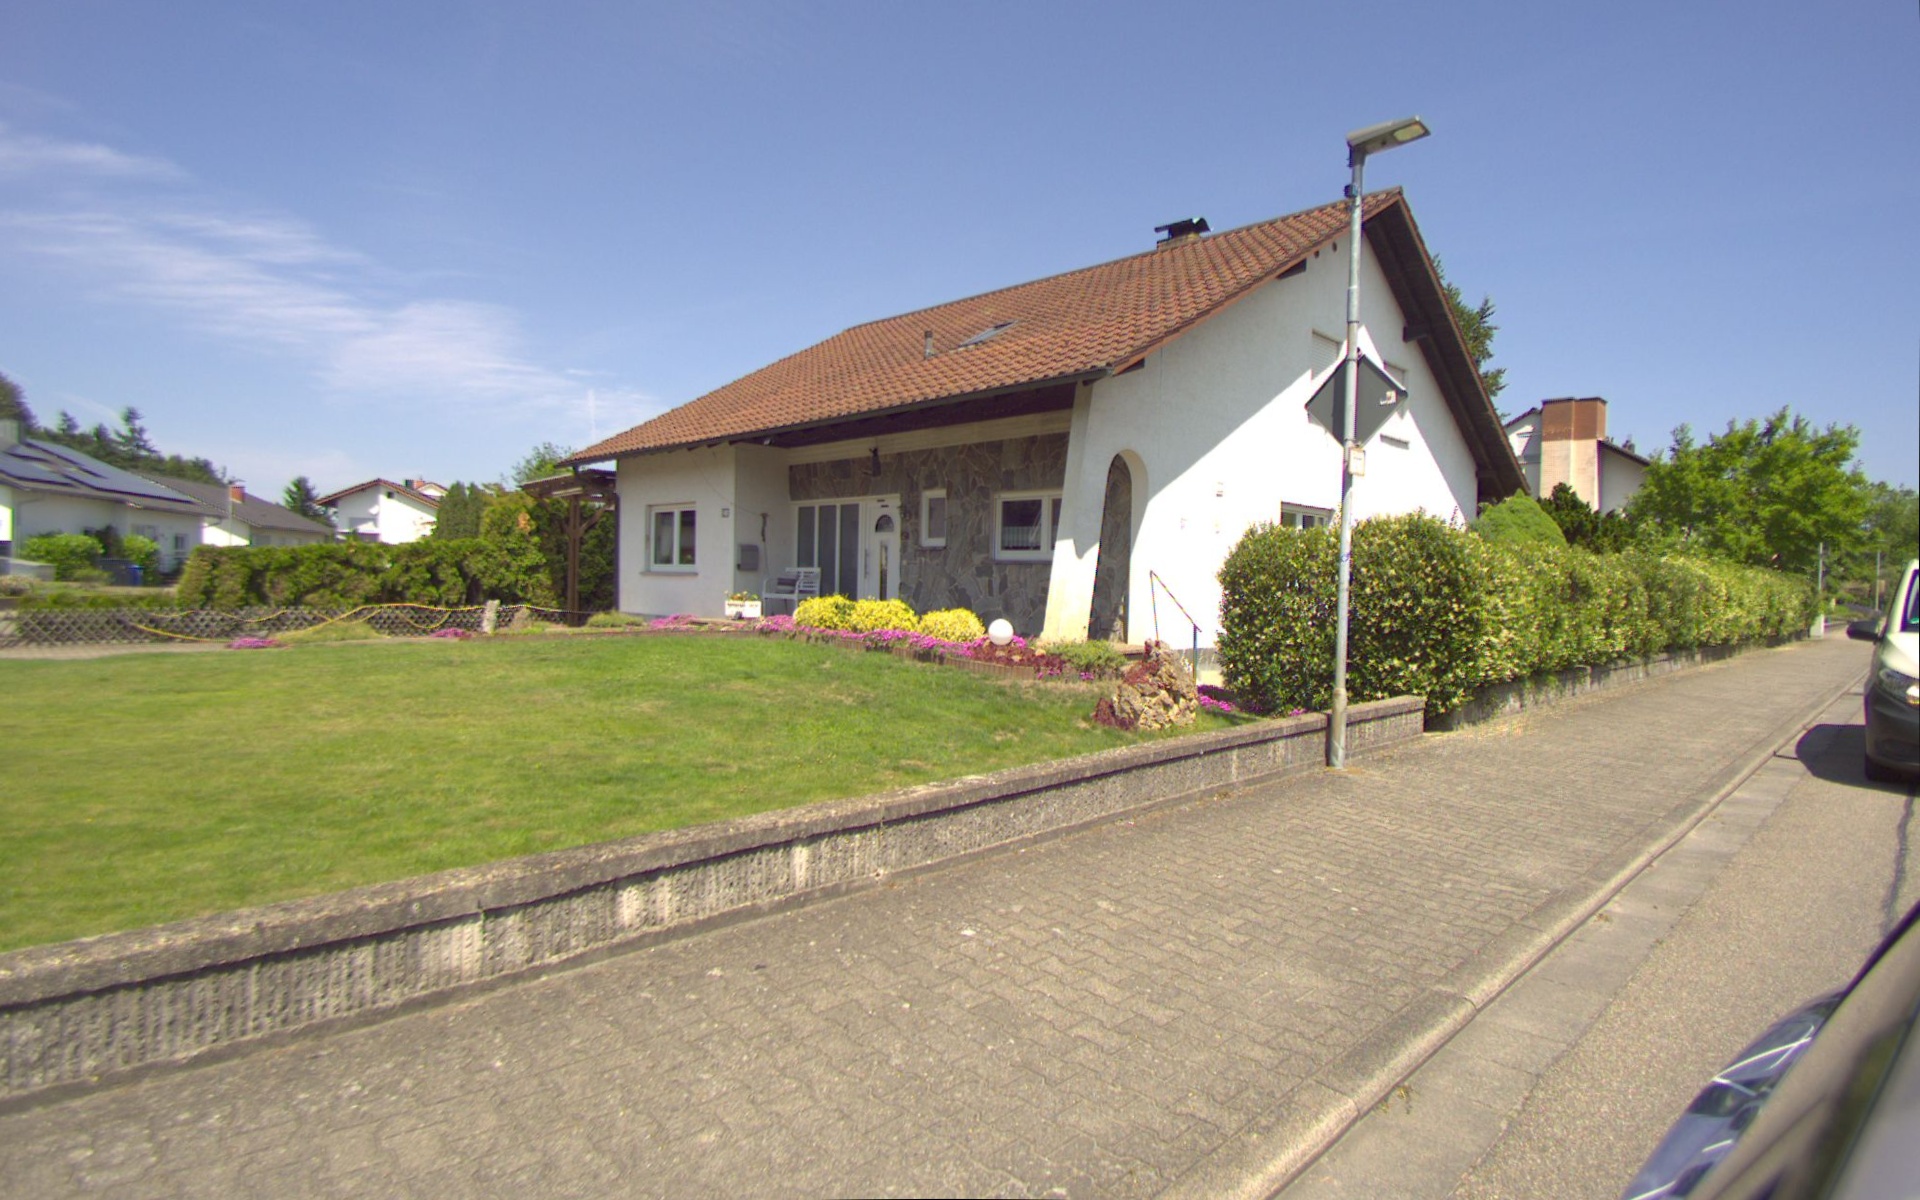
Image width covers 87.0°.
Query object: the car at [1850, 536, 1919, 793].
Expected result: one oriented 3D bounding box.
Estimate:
[{"bbox_3d":[9.224,0.466,8.748,2.014,1.879,4.987,2,2,44],"label":"car"}]
